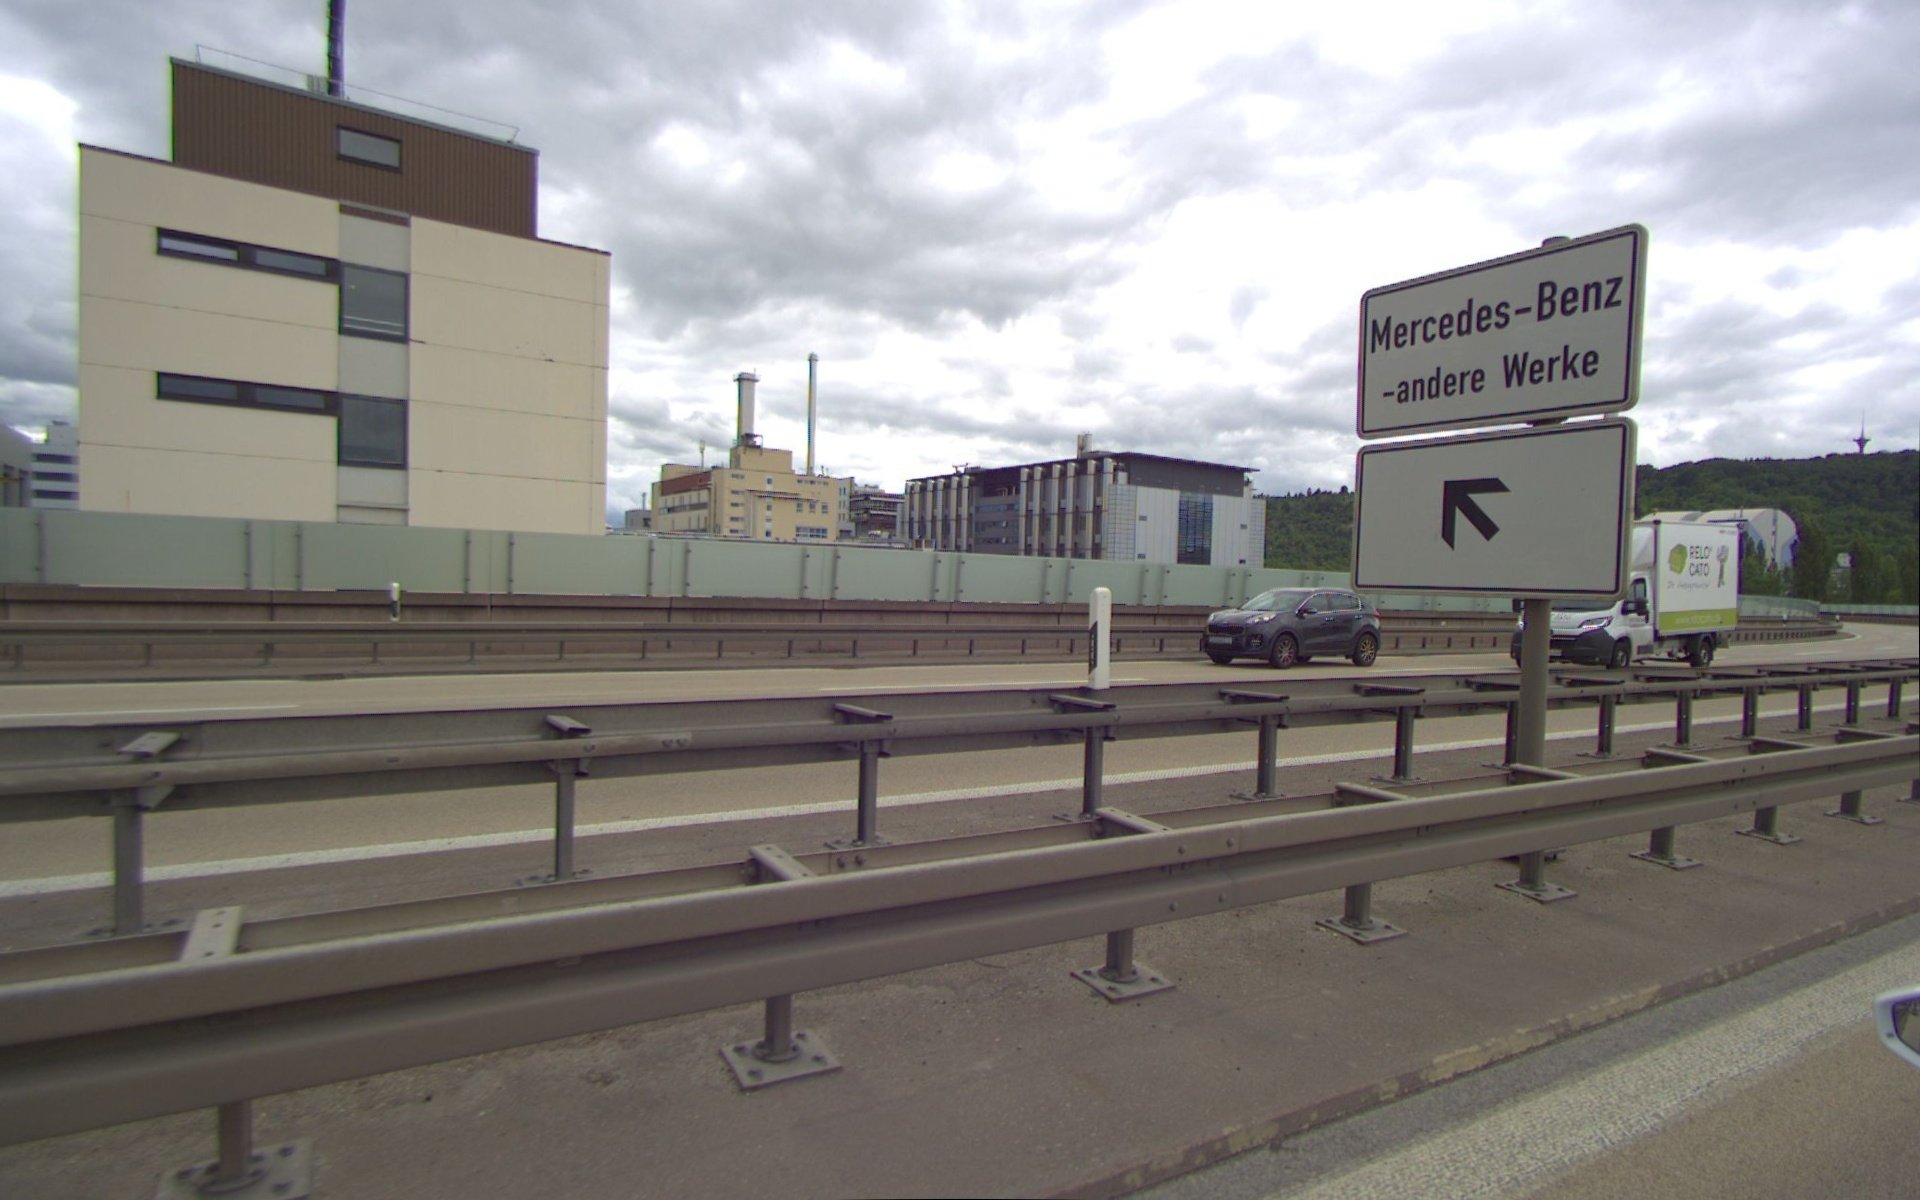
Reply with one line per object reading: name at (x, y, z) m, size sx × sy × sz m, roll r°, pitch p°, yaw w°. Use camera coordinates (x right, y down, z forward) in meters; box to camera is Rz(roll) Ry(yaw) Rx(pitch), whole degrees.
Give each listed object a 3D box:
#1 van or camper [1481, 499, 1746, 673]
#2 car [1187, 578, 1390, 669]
van or camper at (14.828, -0.216, 22.616) m, size 6.880 × 3.433 × 2.390 m, roll 1°, pitch 0°, yaw -33°
car at (7.028, 0.459, 21.365) m, size 4.321 × 1.771 × 1.744 m, roll 1°, pitch 1°, yaw -33°
